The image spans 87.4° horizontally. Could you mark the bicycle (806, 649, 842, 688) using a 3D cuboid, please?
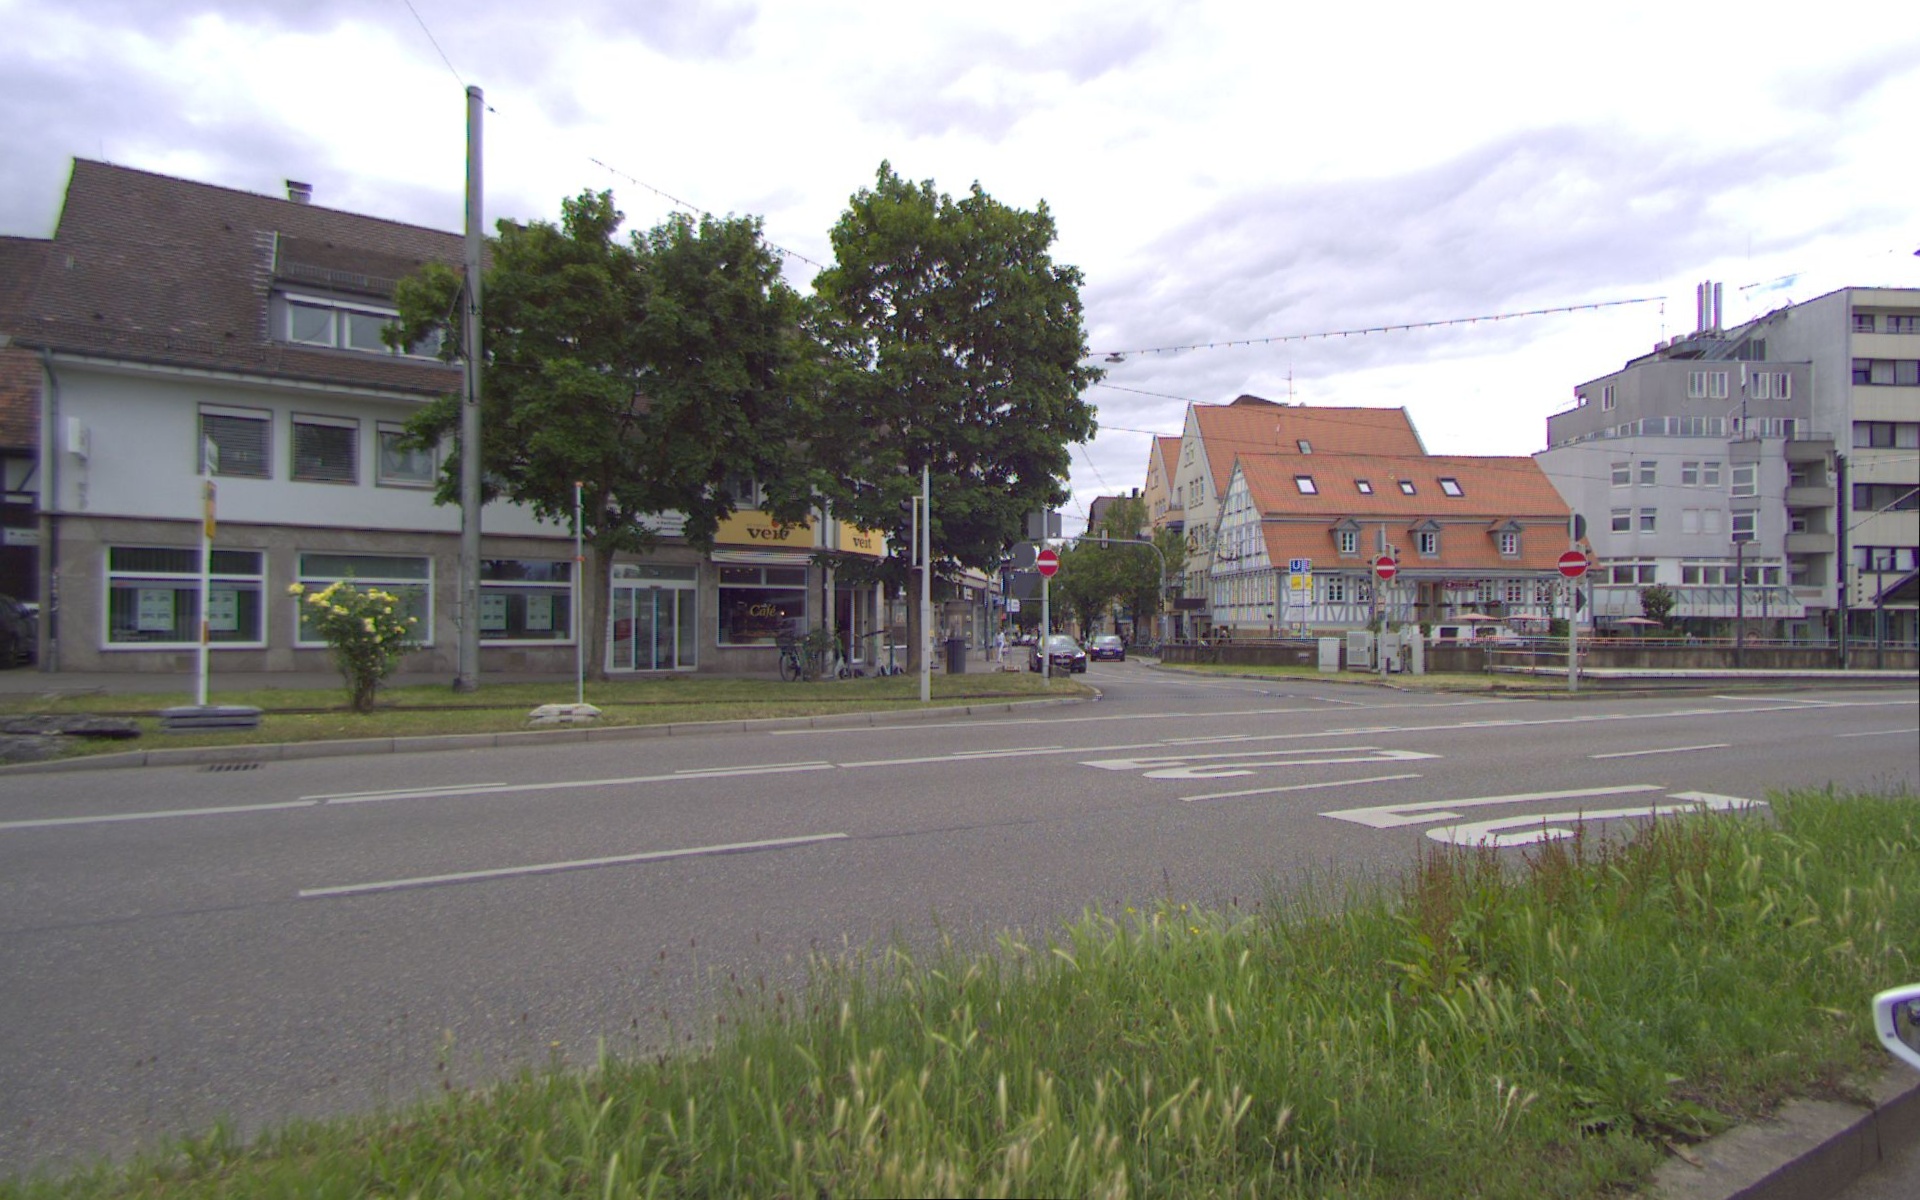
[{"bbox_3d":[-3.012,1.495,22.131,0.419,0.815,1.255,1,-1,-25],"label":"bicycle"}]

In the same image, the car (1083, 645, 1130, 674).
[{"bbox_3d":[7.589,3.074,52.328,1.947,1.312,3.912,1,-1,1],"label":"car"}]

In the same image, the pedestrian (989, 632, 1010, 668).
[{"bbox_3d":[1.856,2.348,47.493,0.858,1.692,0.859,0,-1,11],"label":"pedestrian"}]

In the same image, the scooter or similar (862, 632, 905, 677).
[{"bbox_3d":[-1.908,1.359,25.094,0.978,1.100,0.422,1,-1,-24],"label":"scooter or similar"}]

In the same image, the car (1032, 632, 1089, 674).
[{"bbox_3d":[3.636,1.900,36.908,1.790,1.399,4.685,1,-1,2],"label":"car"}]

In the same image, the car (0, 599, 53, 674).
[{"bbox_3d":[-20.737,0.729,21.079,1.839,1.445,3.967,0,1,-32],"label":"car"}]

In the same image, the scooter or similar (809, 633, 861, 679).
[{"bbox_3d":[-3.062,1.361,24.533,1.158,1.100,0.650,1,-1,-19],"label":"scooter or similar"}]

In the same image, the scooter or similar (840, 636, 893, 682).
[{"bbox_3d":[-2.205,1.386,23.687,1.157,1.059,0.490,1,-1,-15],"label":"scooter or similar"}]
